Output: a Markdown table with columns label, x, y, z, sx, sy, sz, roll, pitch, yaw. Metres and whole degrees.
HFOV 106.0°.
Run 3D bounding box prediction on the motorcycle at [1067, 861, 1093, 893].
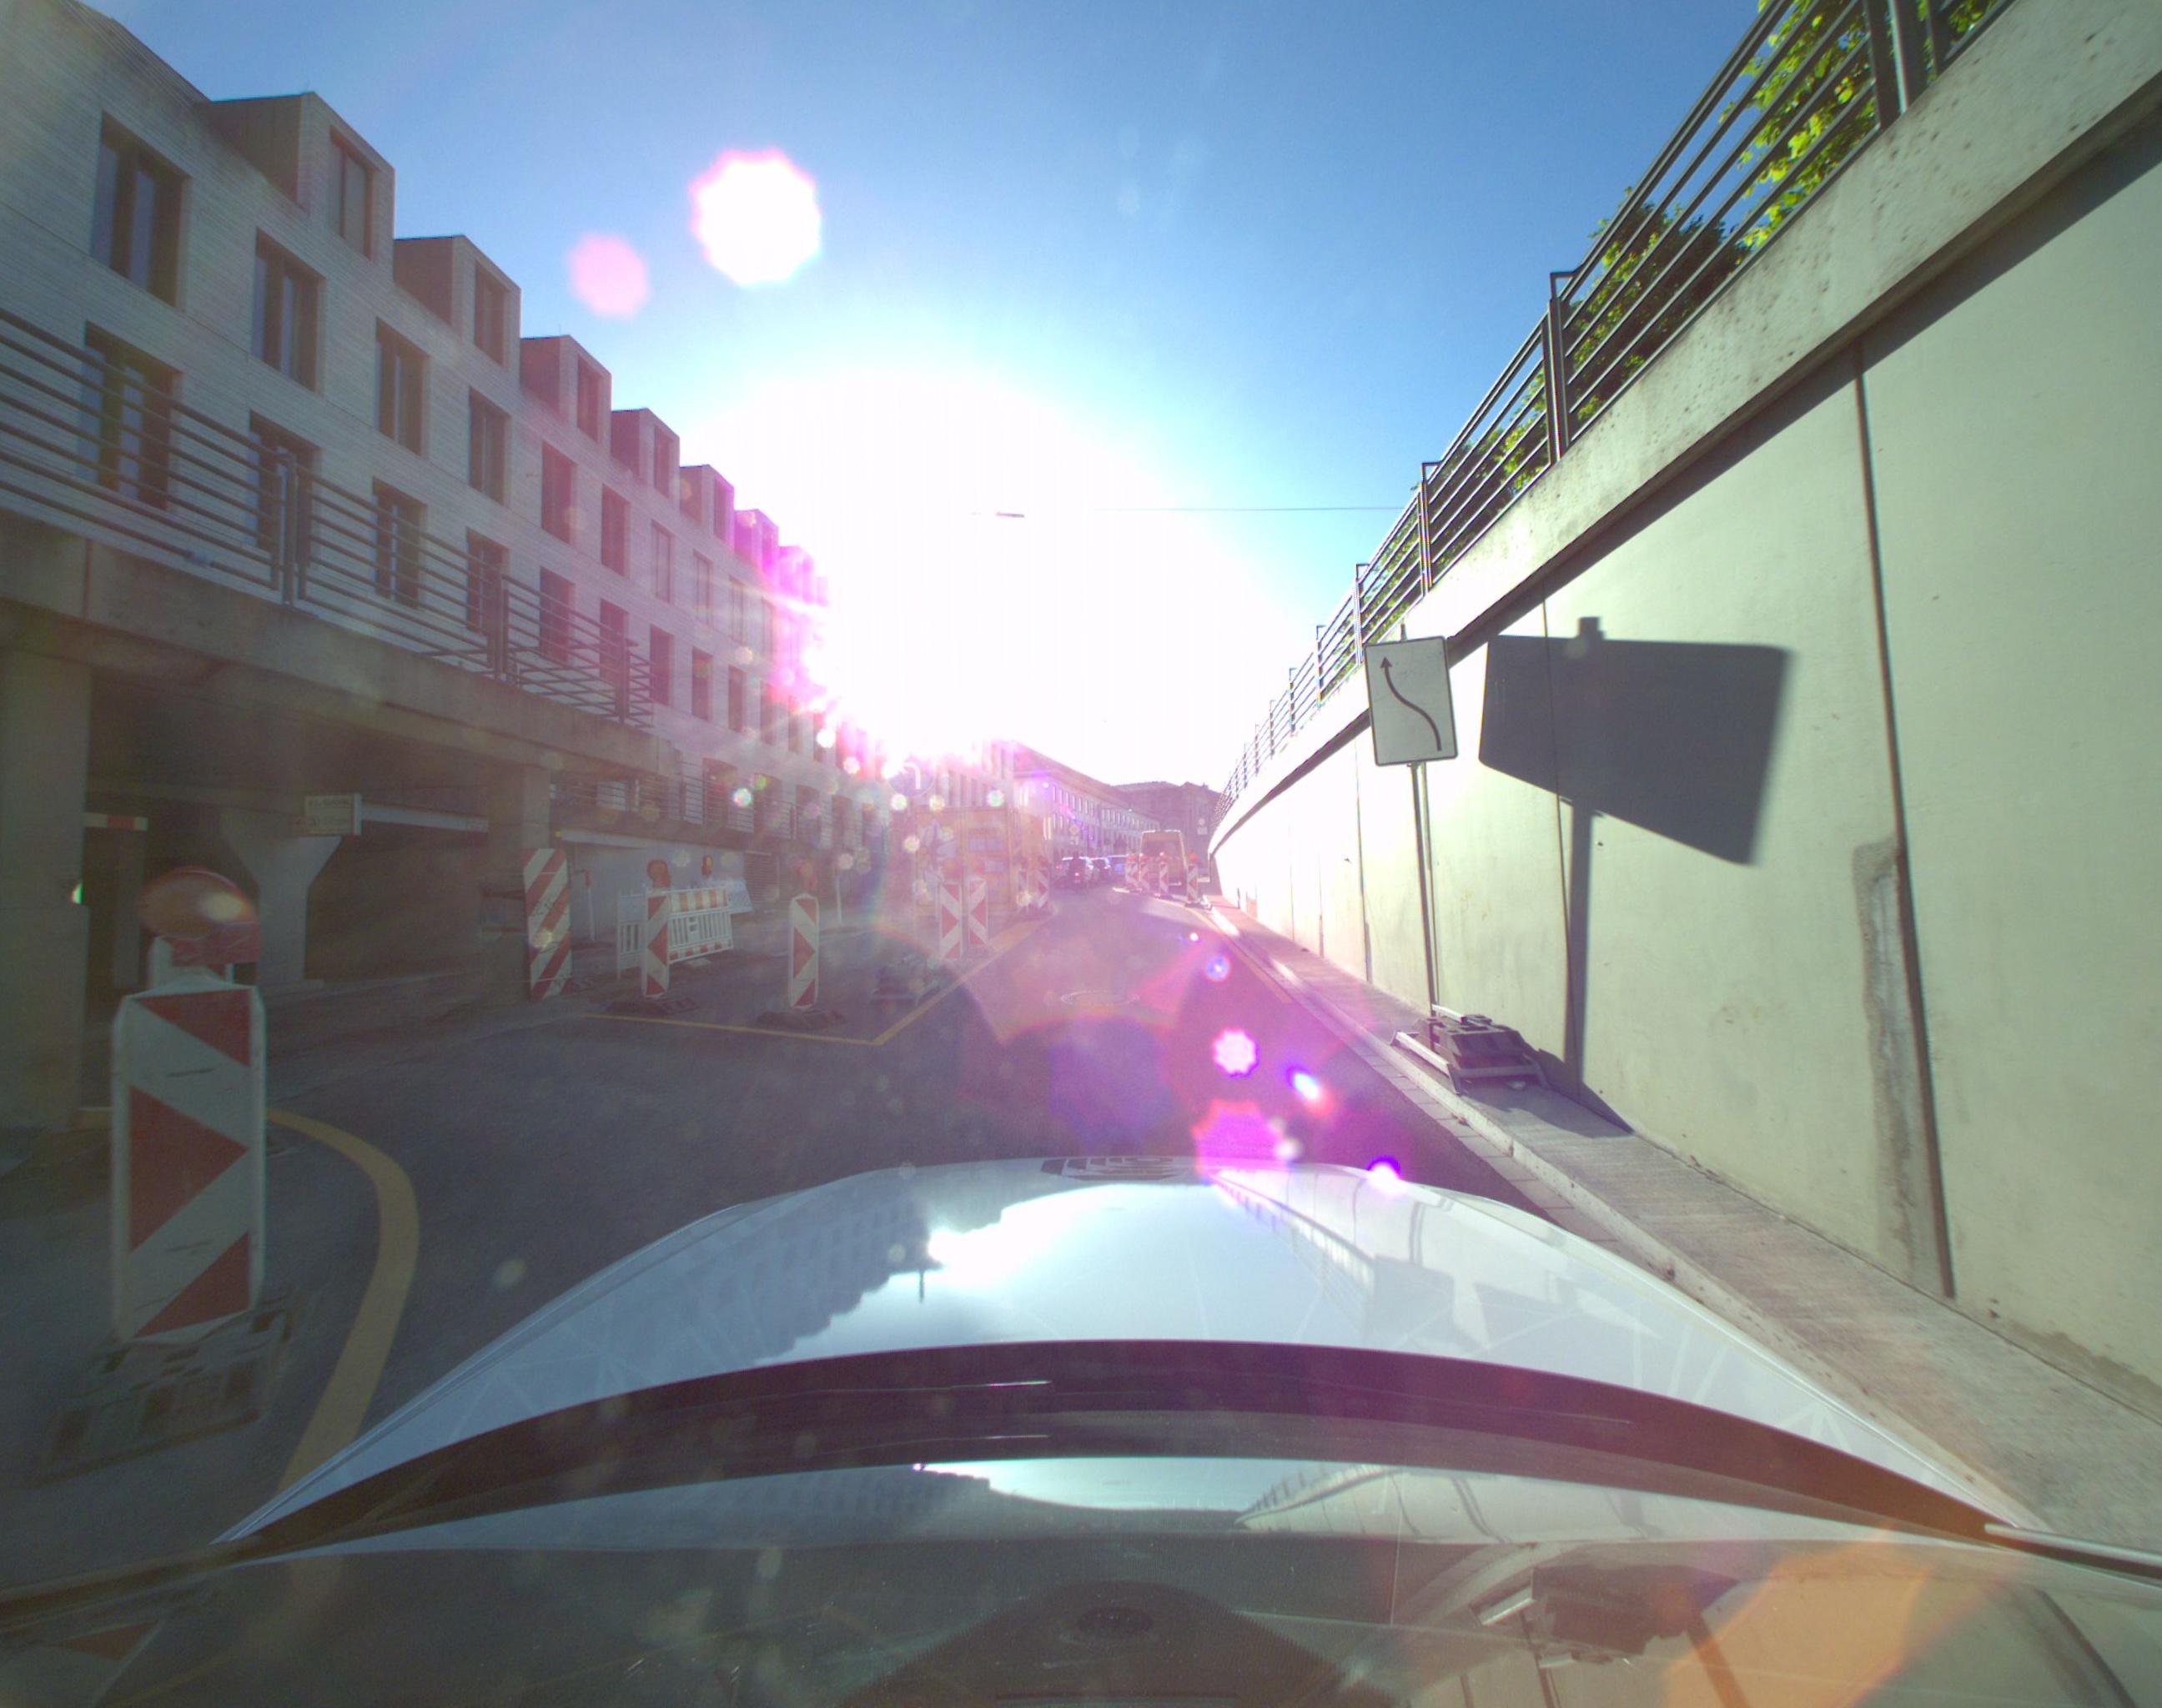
| label | x | y | z | sx | sy | sz | roll | pitch | yaw |
| --- | --- | --- | --- | --- | --- | --- | --- | --- | --- |
| motorcycle | -0.071 | 0.886 | 32.733 | 0.904 | 1.183 | 2.576 | -1 | 0 | -3 |

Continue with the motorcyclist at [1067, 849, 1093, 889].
| label | x | y | z | sx | sy | sz | roll | pitch | yaw |
| --- | --- | --- | --- | --- | --- | --- | --- | --- | --- |
| motorcyclist | -0.052 | 0.571 | 32.695 | 0.952 | 1.559 | 1.237 | -1 | 0 | -3 |

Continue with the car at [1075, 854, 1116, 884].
| label | x | y | z | sx | sy | sz | roll | pitch | yaw |
| --- | --- | --- | --- | --- | --- | --- | --- | --- | --- |
| car | 0.866 | 0.895 | 45.891 | 1.764 | 1.550 | 4.114 | -2 | -3 | 8 |

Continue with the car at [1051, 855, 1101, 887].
| label | x | y | z | sx | sy | sz | roll | pitch | yaw |
| --- | --- | --- | --- | --- | --- | --- | --- | --- | --- |
| car | -0.190 | 0.786 | 39.461 | 1.849 | 1.472 | 4.009 | 0 | 0 | 8 |

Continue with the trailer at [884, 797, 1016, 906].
| label | x | y | z | sx | sy | sz | roll | pitch | yaw |
| --- | --- | --- | --- | --- | --- | --- | --- | --- | --- |
| trailer | -5.084 | -0.048 | 33.772 | 2.627 | 3.669 | 8.767 | -6 | -1 | 8 |

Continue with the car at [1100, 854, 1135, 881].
| label | x | y | z | sx | sy | sz | roll | pitch | yaw |
| --- | --- | --- | --- | --- | --- | --- | --- | --- | --- |
| car | 2.495 | 0.904 | 54.921 | 1.792 | 1.721 | 4.174 | -2 | 0 | 10 |

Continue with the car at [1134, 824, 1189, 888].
| label | x | y | z | sx | sy | sz | roll | pitch | yaw |
| --- | --- | --- | --- | --- | --- | --- | --- | --- | --- |
| car | 3.813 | 0.113 | 37.566 | 2.100 | 2.625 | 7.002 | -2 | -1 | 8 |
